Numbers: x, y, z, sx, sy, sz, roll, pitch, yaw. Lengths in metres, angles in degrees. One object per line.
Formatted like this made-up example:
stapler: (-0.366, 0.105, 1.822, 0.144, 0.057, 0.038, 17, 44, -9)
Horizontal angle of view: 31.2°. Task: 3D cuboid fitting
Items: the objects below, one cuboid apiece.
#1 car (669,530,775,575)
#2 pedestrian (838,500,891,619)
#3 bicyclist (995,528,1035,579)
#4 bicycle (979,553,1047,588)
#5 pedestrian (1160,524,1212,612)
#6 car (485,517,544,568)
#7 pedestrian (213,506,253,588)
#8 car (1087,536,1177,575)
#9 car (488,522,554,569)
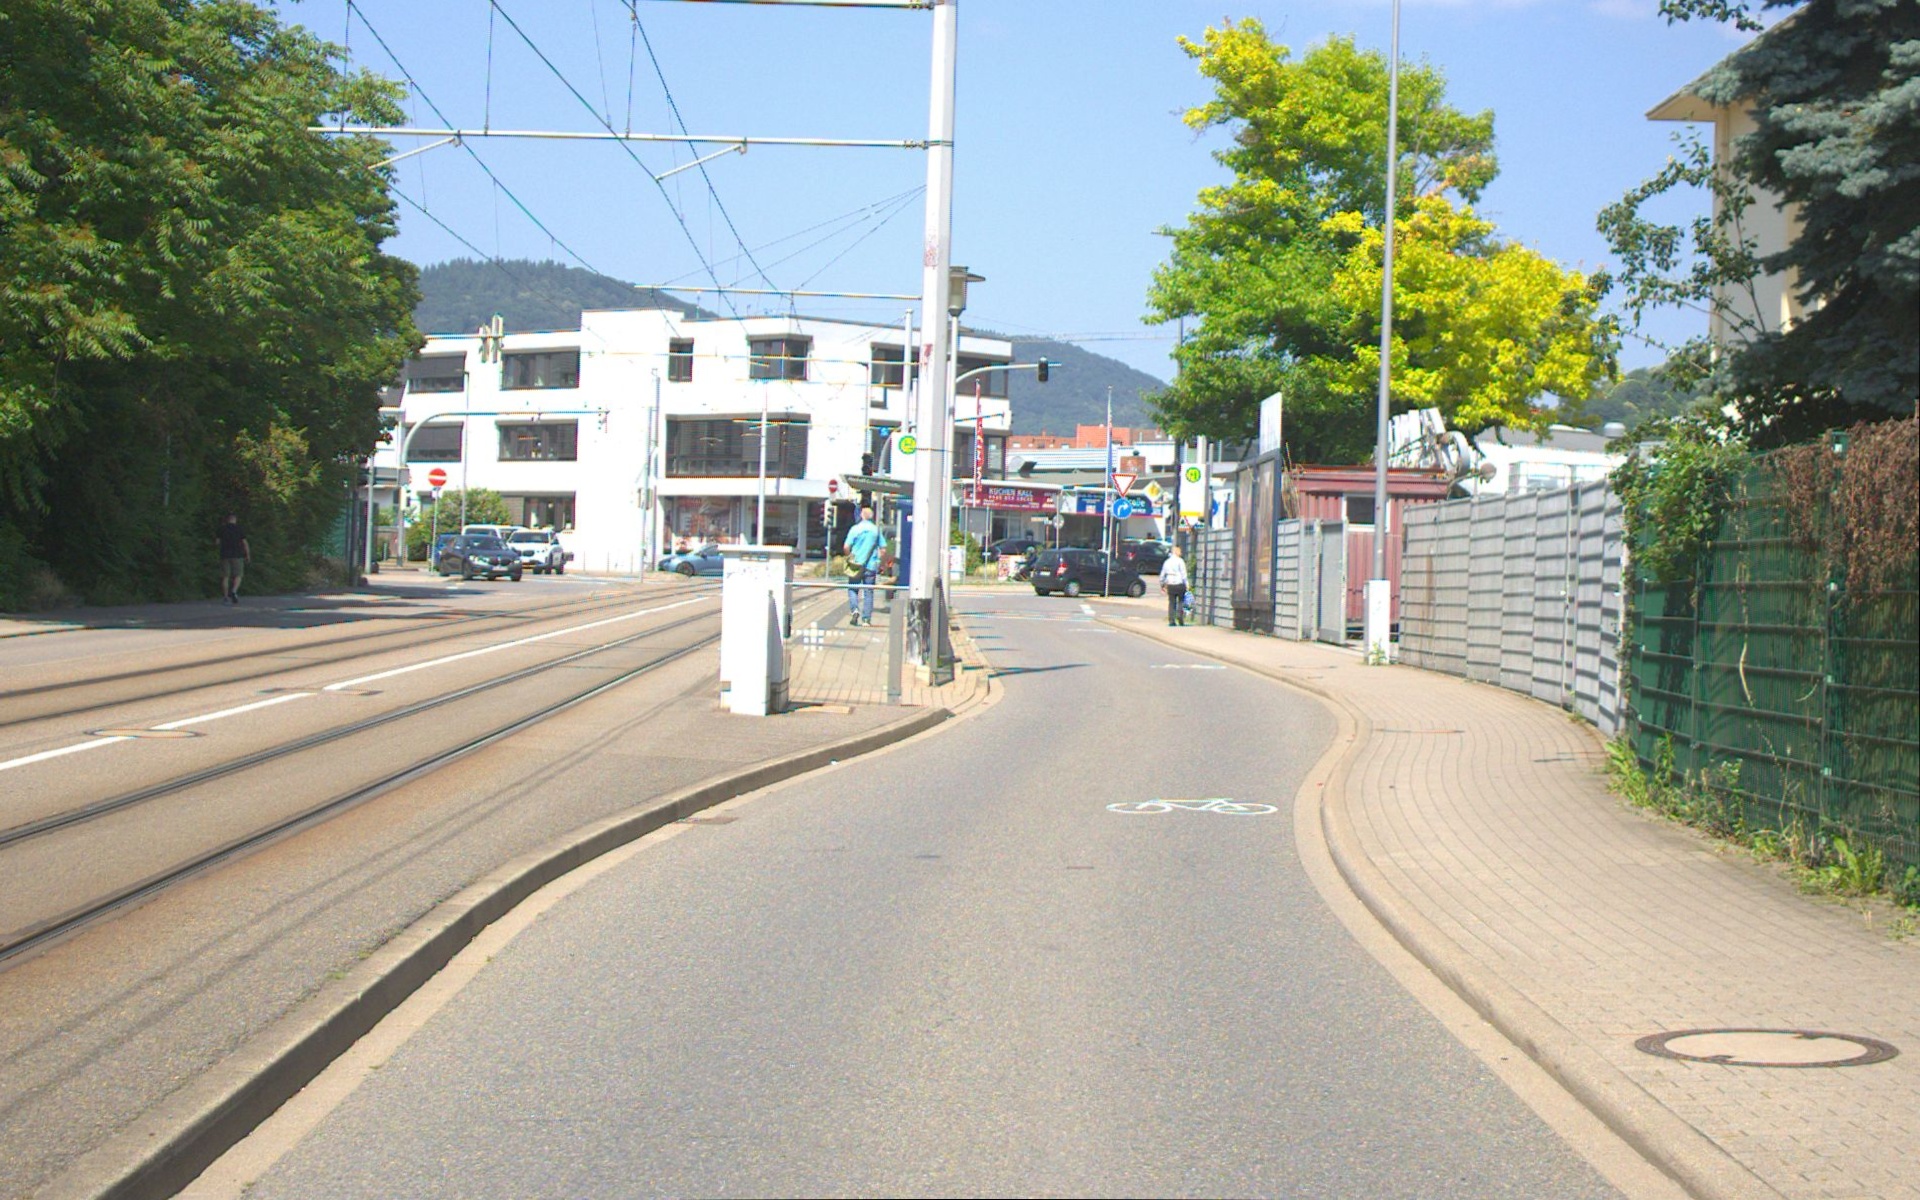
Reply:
car: (-9.318, -1.862, 134.368, 3.892, 1.674, 1.732, 1, 1, -12)
pedestrian: (-1.412, -0.609, 50.971, 0.743, 1.734, 0.727, 1, 1, -1)
bicyclist: (2.176, -1.846, 136.707, 1.292, 1.898, 1.091, 3, 4, -9)
bicycle: (2.103, -1.193, 136.741, 2.444, 1.182, 1.117, 3, 4, -9)
pedestrian: (4.770, -0.685, 72.742, 0.940, 1.781, 0.953, 2, 2, -1)
car: (-14.144, -1.837, 109.058, 1.786, 1.546, 4.001, 1, 1, -8)
pedestrian: (-13.707, -1.000, 64.816, 0.584, 1.532, 0.657, 1, 1, -1)
car: (7.864, -2.022, 156.692, 3.989, 1.656, 1.864, 1, 1, -45)
car: (-15.772, -1.965, 123.570, 1.756, 1.642, 3.762, 1, 1, 2)
